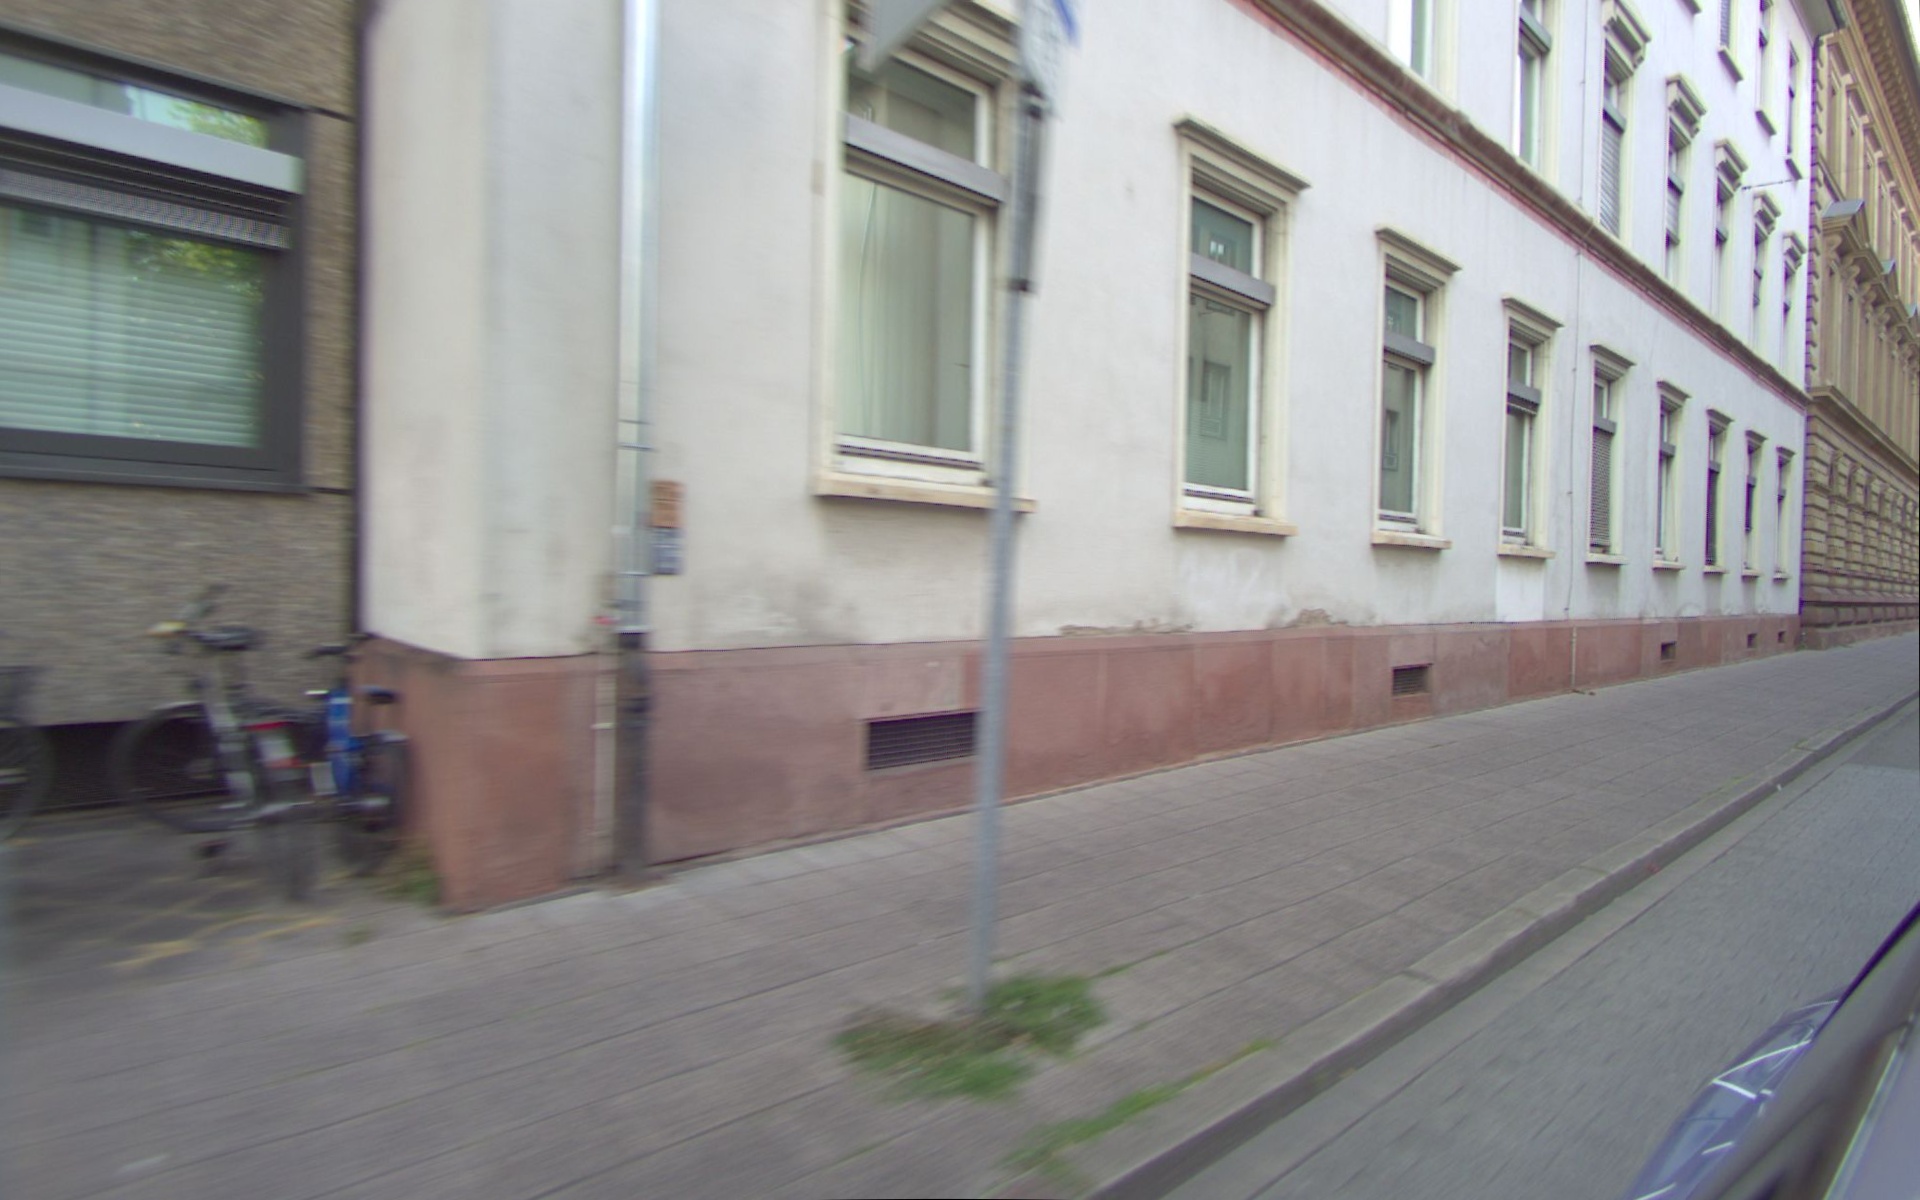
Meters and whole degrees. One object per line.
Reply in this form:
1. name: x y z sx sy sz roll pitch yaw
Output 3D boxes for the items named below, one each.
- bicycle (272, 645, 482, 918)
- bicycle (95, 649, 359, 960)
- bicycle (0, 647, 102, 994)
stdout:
1. bicycle: -2.705 0.720 4.602 0.390 0.934 1.796 0 1 -45
2. bicycle: -3.084 0.725 4.184 1.794 0.934 0.509 1 1 41
3. bicycle: -3.528 0.684 3.561 1.794 0.934 0.530 1 1 41
